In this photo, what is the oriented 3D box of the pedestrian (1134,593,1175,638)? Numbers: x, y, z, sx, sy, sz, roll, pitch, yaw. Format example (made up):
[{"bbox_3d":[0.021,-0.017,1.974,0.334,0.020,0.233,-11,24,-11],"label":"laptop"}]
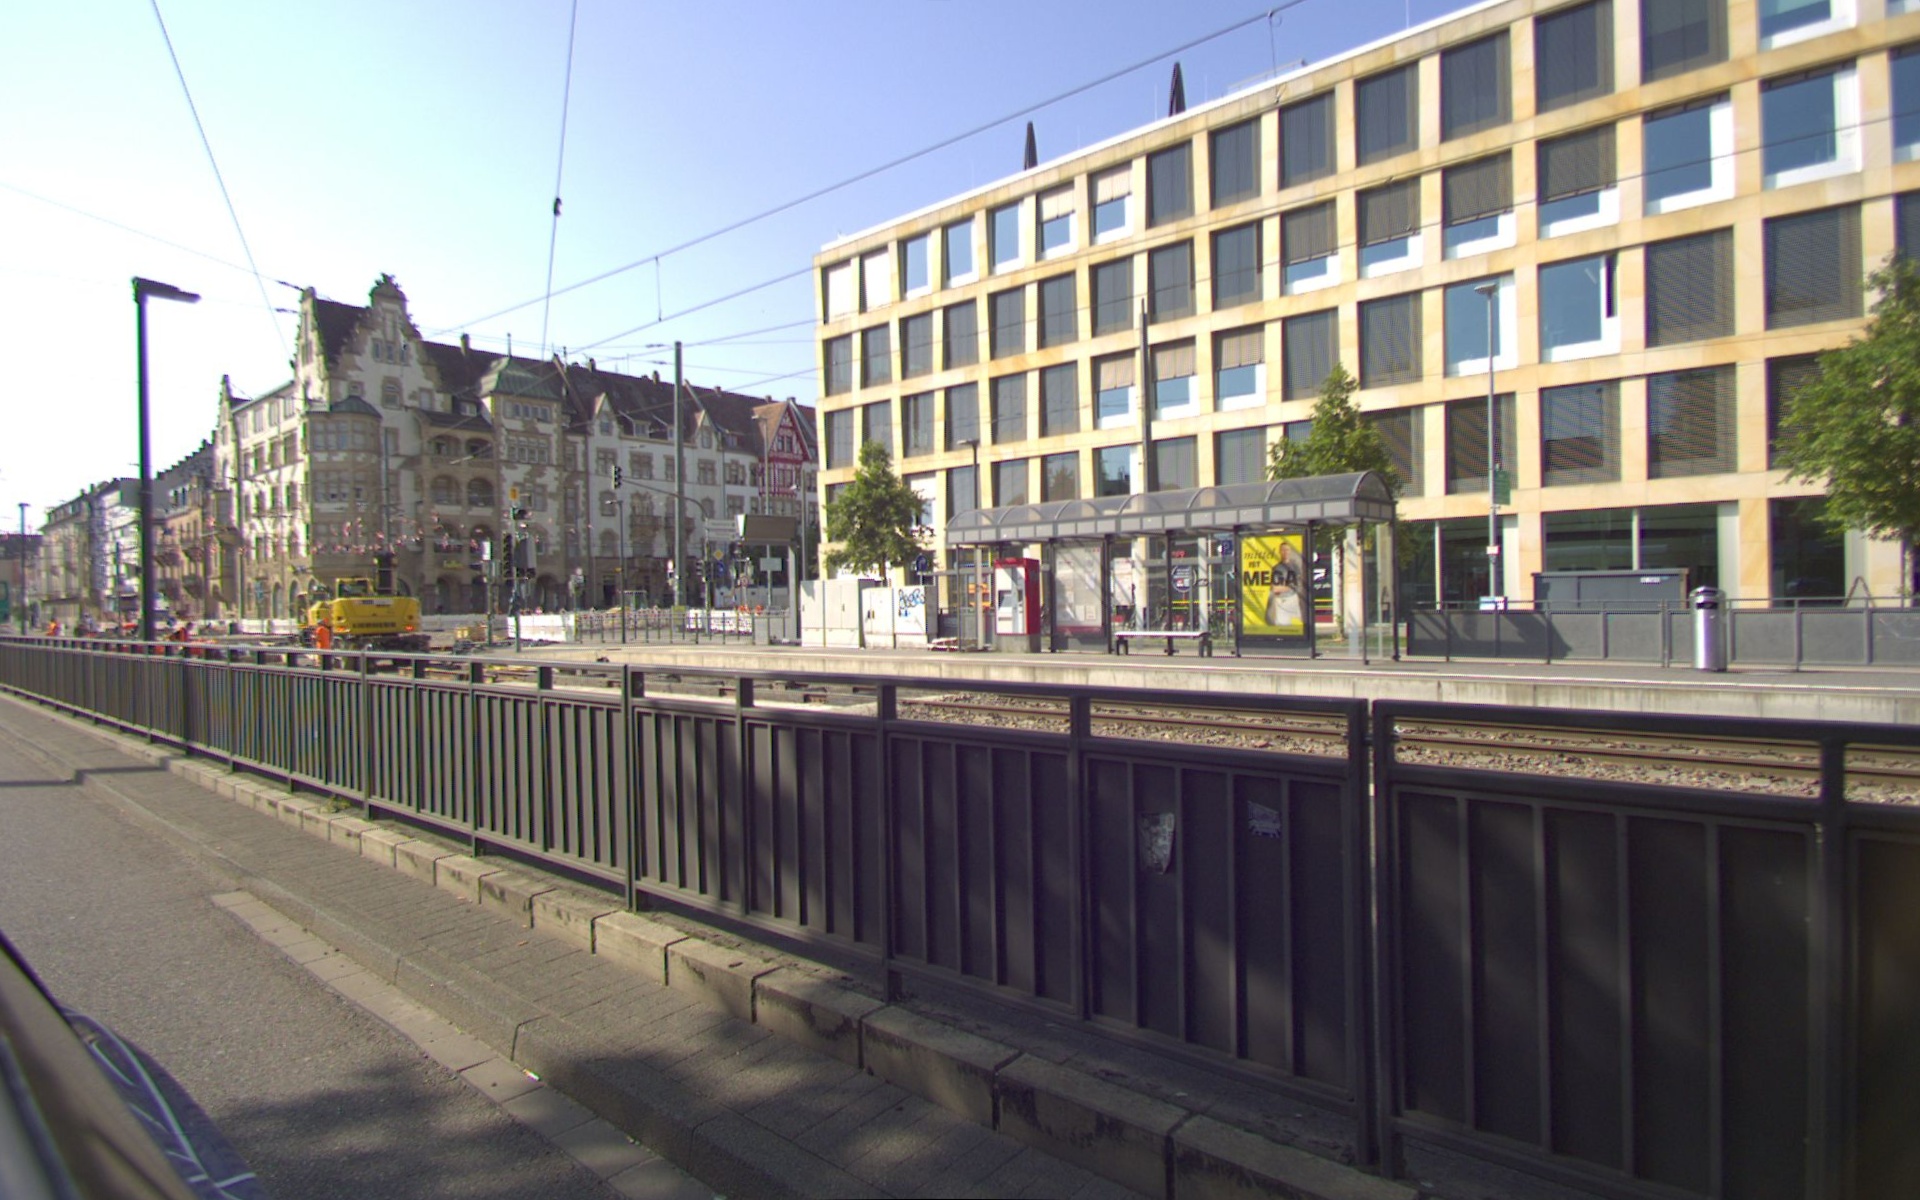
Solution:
[{"bbox_3d":[7.051,0.561,36.719,1.123,1.609,0.966,-2,-1,41],"label":"pedestrian"}]

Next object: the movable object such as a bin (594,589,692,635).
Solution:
[{"bbox_3d":[-19.615,0.705,62.821,2.134,2.760,5.555,-2,0,40],"label":"movable object such as a bin"}]

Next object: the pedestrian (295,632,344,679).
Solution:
[{"bbox_3d":[-18.811,1.618,29.728,0.983,1.316,1.003,-2,-1,44],"label":"pedestrian"}]

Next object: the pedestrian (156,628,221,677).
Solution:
[{"bbox_3d":[-21.698,1.462,28.477,1.293,1.316,0.801,-1,-1,-25],"label":"pedestrian"}]

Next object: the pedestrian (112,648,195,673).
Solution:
[{"bbox_3d":[-24.429,1.825,30.682,0.913,0.641,1.880,-2,-1,44],"label":"pedestrian"}]

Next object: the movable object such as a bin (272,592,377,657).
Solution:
[{"bbox_3d":[-35.080,1.328,55.687,8.345,3.355,2.815,-2,-1,43],"label":"movable object such as a bin"}]

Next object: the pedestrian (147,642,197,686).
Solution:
[{"bbox_3d":[-22.729,1.826,29.211,0.968,1.199,0.801,-1,-1,-25],"label":"pedestrian"}]

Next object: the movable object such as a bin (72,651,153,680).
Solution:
[{"bbox_3d":[-21.819,1.669,26.092,1.484,0.657,0.703,-1,-1,-28],"label":"movable object such as a bin"}]

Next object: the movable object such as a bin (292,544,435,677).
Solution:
[{"bbox_3d":[-20.716,0.406,35.736,3.454,4.043,9.070,-1,-1,-25],"label":"movable object such as a bin"}]

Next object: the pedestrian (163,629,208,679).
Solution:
[{"bbox_3d":[-21.190,1.454,27.699,0.825,1.316,0.801,-1,-1,-25],"label":"pedestrian"}]
